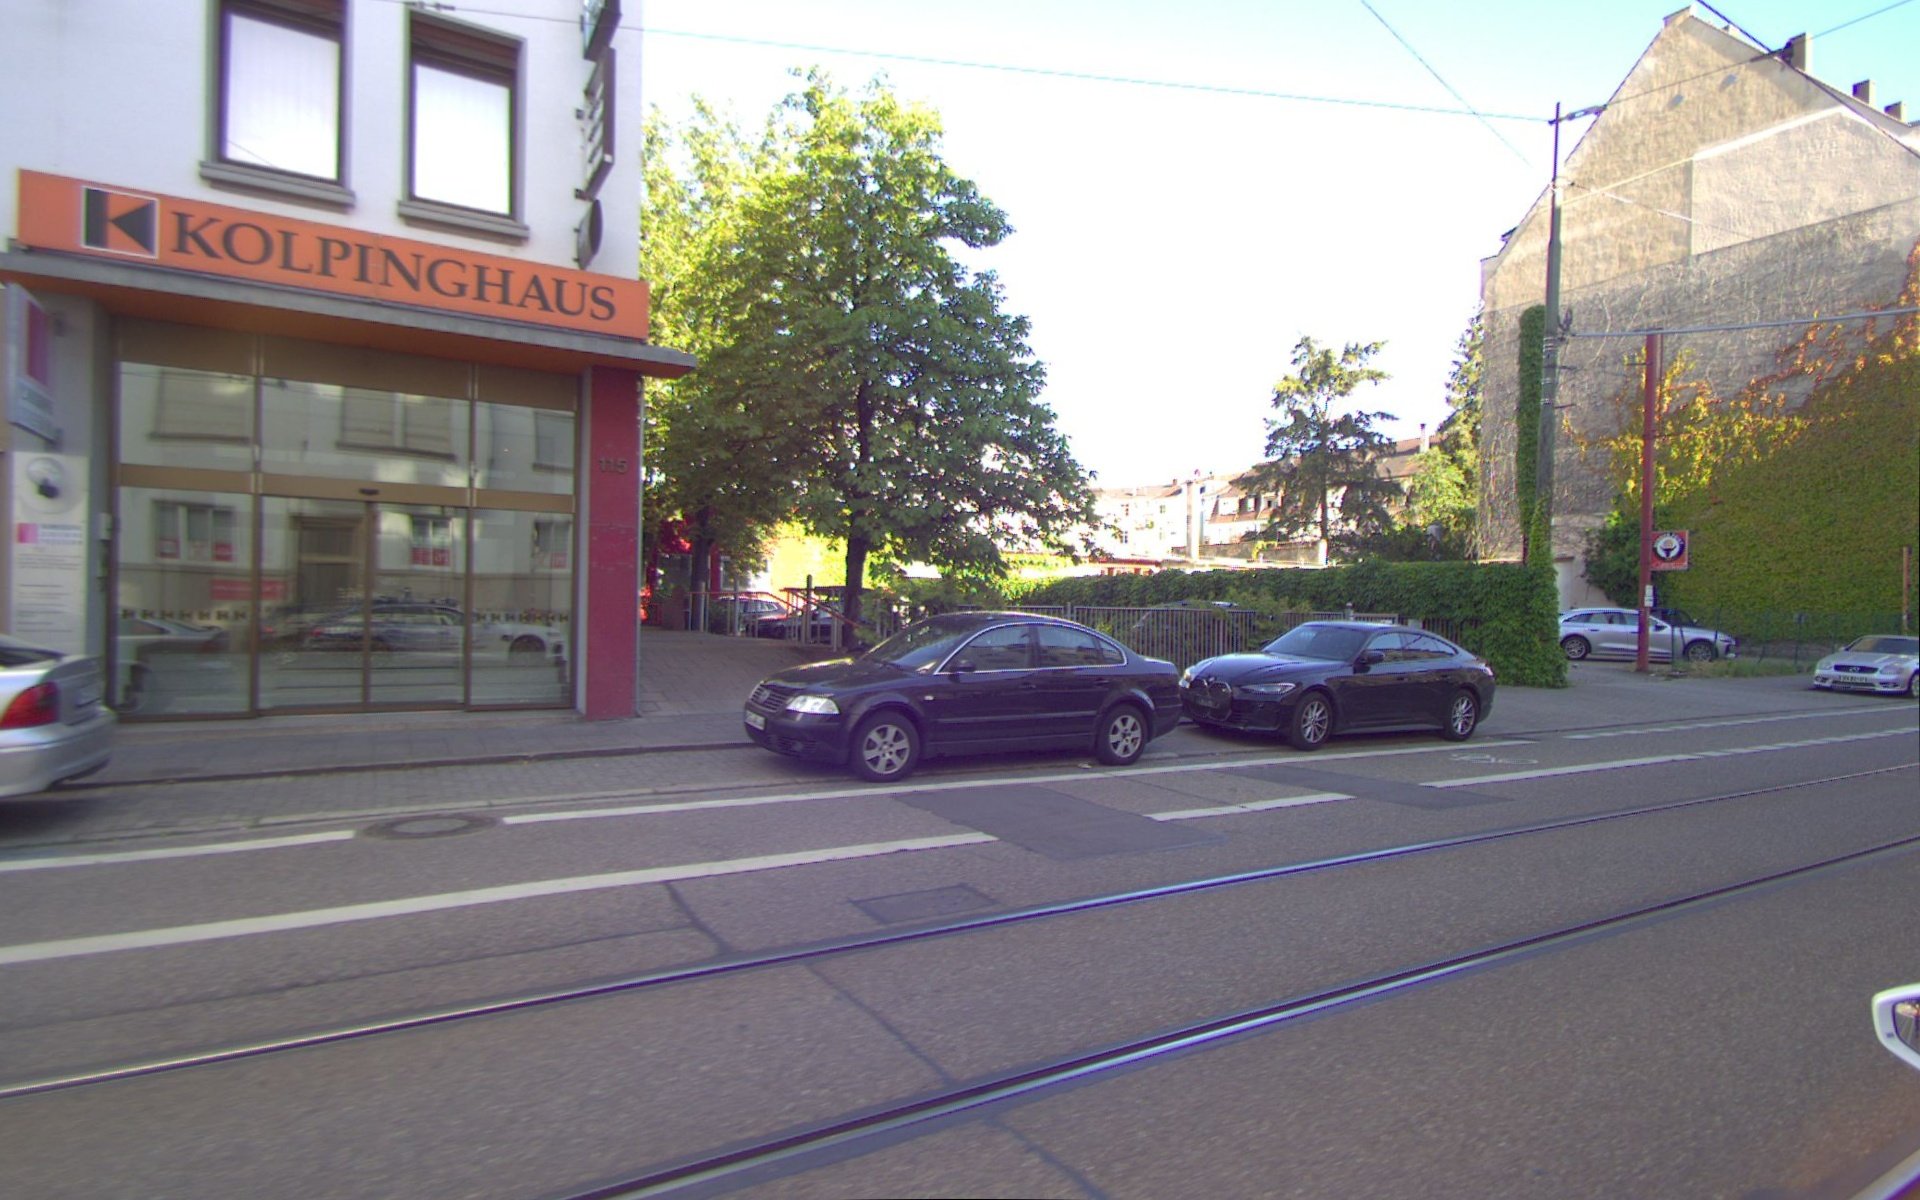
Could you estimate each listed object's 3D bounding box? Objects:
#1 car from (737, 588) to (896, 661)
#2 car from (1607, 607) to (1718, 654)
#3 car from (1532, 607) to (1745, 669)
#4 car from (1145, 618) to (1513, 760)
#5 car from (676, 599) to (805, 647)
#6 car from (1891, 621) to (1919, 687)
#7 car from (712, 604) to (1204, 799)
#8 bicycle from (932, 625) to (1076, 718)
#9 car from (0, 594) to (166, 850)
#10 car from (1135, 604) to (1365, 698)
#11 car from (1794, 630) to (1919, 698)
[{"bbox_3d":[-4.036,0.684,28.347,4.096,1.919,1.759,1,0,-28],"label":"car"},{"bbox_3d":[24.793,1.056,35.434,3.863,1.546,1.744,1,0,-30],"label":"car"},{"bbox_3d":[18.843,1.009,28.217,4.708,1.538,1.998,1,0,27],"label":"car"},{"bbox_3d":[4.813,1.026,12.899,4.785,1.465,1.774,1,1,-30],"label":"car"},{"bbox_3d":[-7.722,0.795,35.347,4.100,1.607,1.757,1,0,-30],"label":"car"},{"bbox_3d":[25.624,1.389,25.299,4.553,1.586,1.775,1,1,-28],"label":"car"},{"bbox_3d":[0.086,0.860,10.008,4.646,1.501,1.774,1,1,-31],"label":"car"},{"bbox_3d":[0.624,0.958,13.762,2.026,1.190,0.437,2,0,-30],"label":"bicycle"},{"bbox_3d":[-7.454,0.668,5.668,4.391,1.417,1.775,1,1,-29],"label":"car"},{"bbox_3d":[5.642,0.929,20.111,1.975,1.619,4.344,1,0,-28],"label":"car"},{"bbox_3d":[20.918,1.394,22.748,4.171,1.331,1.774,1,1,-30],"label":"car"}]
